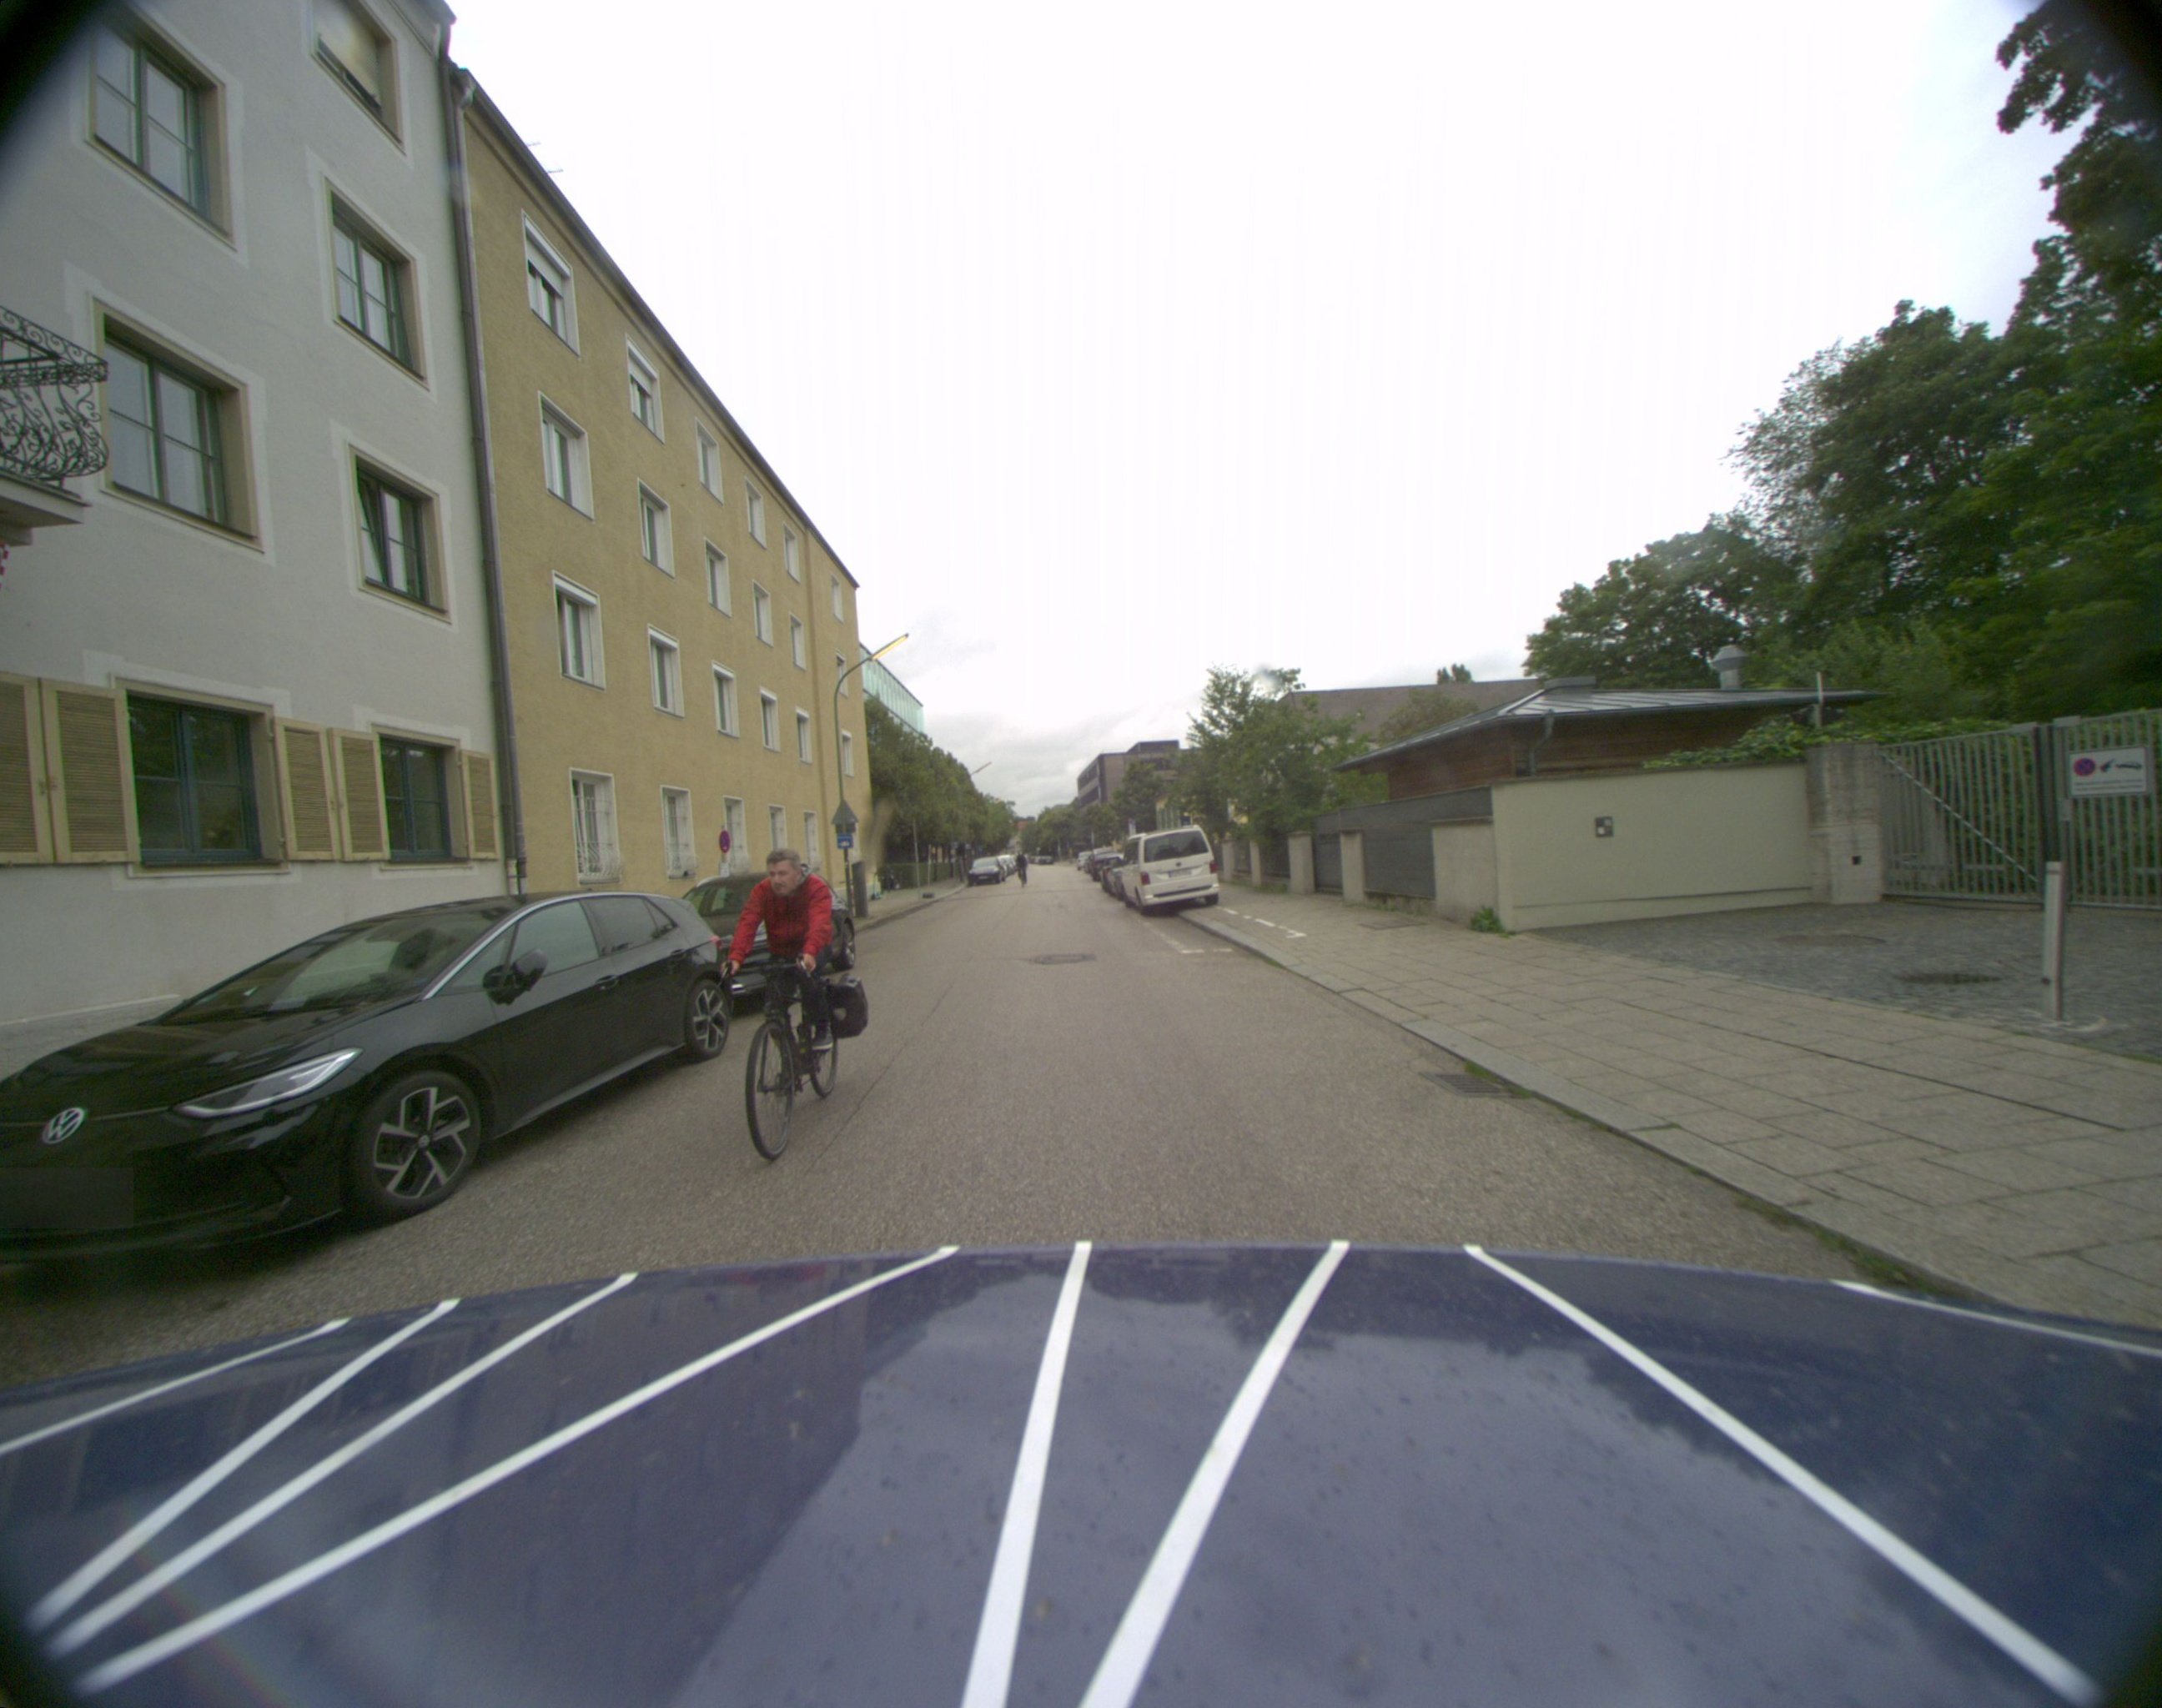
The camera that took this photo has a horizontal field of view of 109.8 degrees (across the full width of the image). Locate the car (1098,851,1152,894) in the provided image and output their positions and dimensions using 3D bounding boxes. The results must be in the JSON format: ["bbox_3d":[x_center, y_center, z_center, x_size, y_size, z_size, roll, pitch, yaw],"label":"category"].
[{"bbox_3d":[1.706,0.675,30.873,1.863,1.536,4.187,-2,1,0],"label":"car"}]

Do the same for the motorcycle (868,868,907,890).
[{"bbox_3d":[-10.661,1.363,41.882,1.899,1.126,0.708,-2,1,-1],"label":"motorcycle"}]

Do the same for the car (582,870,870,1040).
[{"bbox_3d":[-4.429,1.118,10.505,1.865,1.568,4.897,-3,0,-4],"label":"car"}]

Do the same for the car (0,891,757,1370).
[{"bbox_3d":[-4.080,1.179,5.074,1.843,1.522,4.415,-3,0,0],"label":"car"}]

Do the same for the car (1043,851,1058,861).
[{"bbox_3d":[-4.934,0.332,121.939,1.930,1.390,4.484,-4,0,-6],"label":"car"}]

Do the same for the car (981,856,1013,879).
[{"bbox_3d":[-6.212,0.965,56.608,1.999,1.451,4.955,-5,1,-4],"label":"car"}]

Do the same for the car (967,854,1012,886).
[{"bbox_3d":[-5.596,0.937,47.088,1.998,1.621,5.099,-5,1,0],"label":"car"}]

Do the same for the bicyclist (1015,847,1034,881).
[{"bbox_3d":[-2.829,0.497,38.266,0.780,1.657,1.034,-5,0,-2],"label":"bicyclist"}]

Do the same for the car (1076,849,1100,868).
[{"bbox_3d":[0.599,0.370,66.359,1.729,1.483,4.460,-5,1,-2],"label":"car"}]

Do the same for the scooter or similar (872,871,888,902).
[{"bbox_3d":[-8.678,1.390,32.781,0.343,1.248,1.309,-2,1,-2],"label":"scooter or similar"}]

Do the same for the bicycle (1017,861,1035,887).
[{"bbox_3d":[-2.774,0.998,38.212,0.720,1.199,1.801,-5,0,-2],"label":"bicycle"}]

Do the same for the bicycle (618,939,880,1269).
[{"bbox_3d":[-1.710,1.203,4.322,0.674,1.135,2.010,-5,1,-6],"label":"bicycle"}]

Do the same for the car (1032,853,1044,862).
[{"bbox_3d":[-8.599,0.743,151.057,1.999,1.510,3.997,-5,1,-6],"label":"car"}]

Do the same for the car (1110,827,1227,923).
[{"bbox_3d":[2.091,0.465,19.814,1.972,1.979,5.149,-5,1,-4],"label":"car"}]

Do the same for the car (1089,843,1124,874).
[{"bbox_3d":[1.592,0.246,48.655,1.907,1.682,4.807,-5,1,-1],"label":"car"}]

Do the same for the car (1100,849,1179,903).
[{"bbox_3d":[1.867,0.673,25.786,1.892,1.535,4.694,-4,0,-5],"label":"car"}]

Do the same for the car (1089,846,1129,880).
[{"bbox_3d":[1.478,0.455,41.739,1.850,1.598,4.742,-5,1,0],"label":"car"}]

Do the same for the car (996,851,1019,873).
[{"bbox_3d":[-7.127,0.725,73.807,1.789,1.885,4.572,-5,1,-2],"label":"car"}]

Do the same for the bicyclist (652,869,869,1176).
[{"bbox_3d":[-1.769,0.866,4.376,0.756,1.474,0.981,-6,1,-6],"label":"bicyclist"}]
